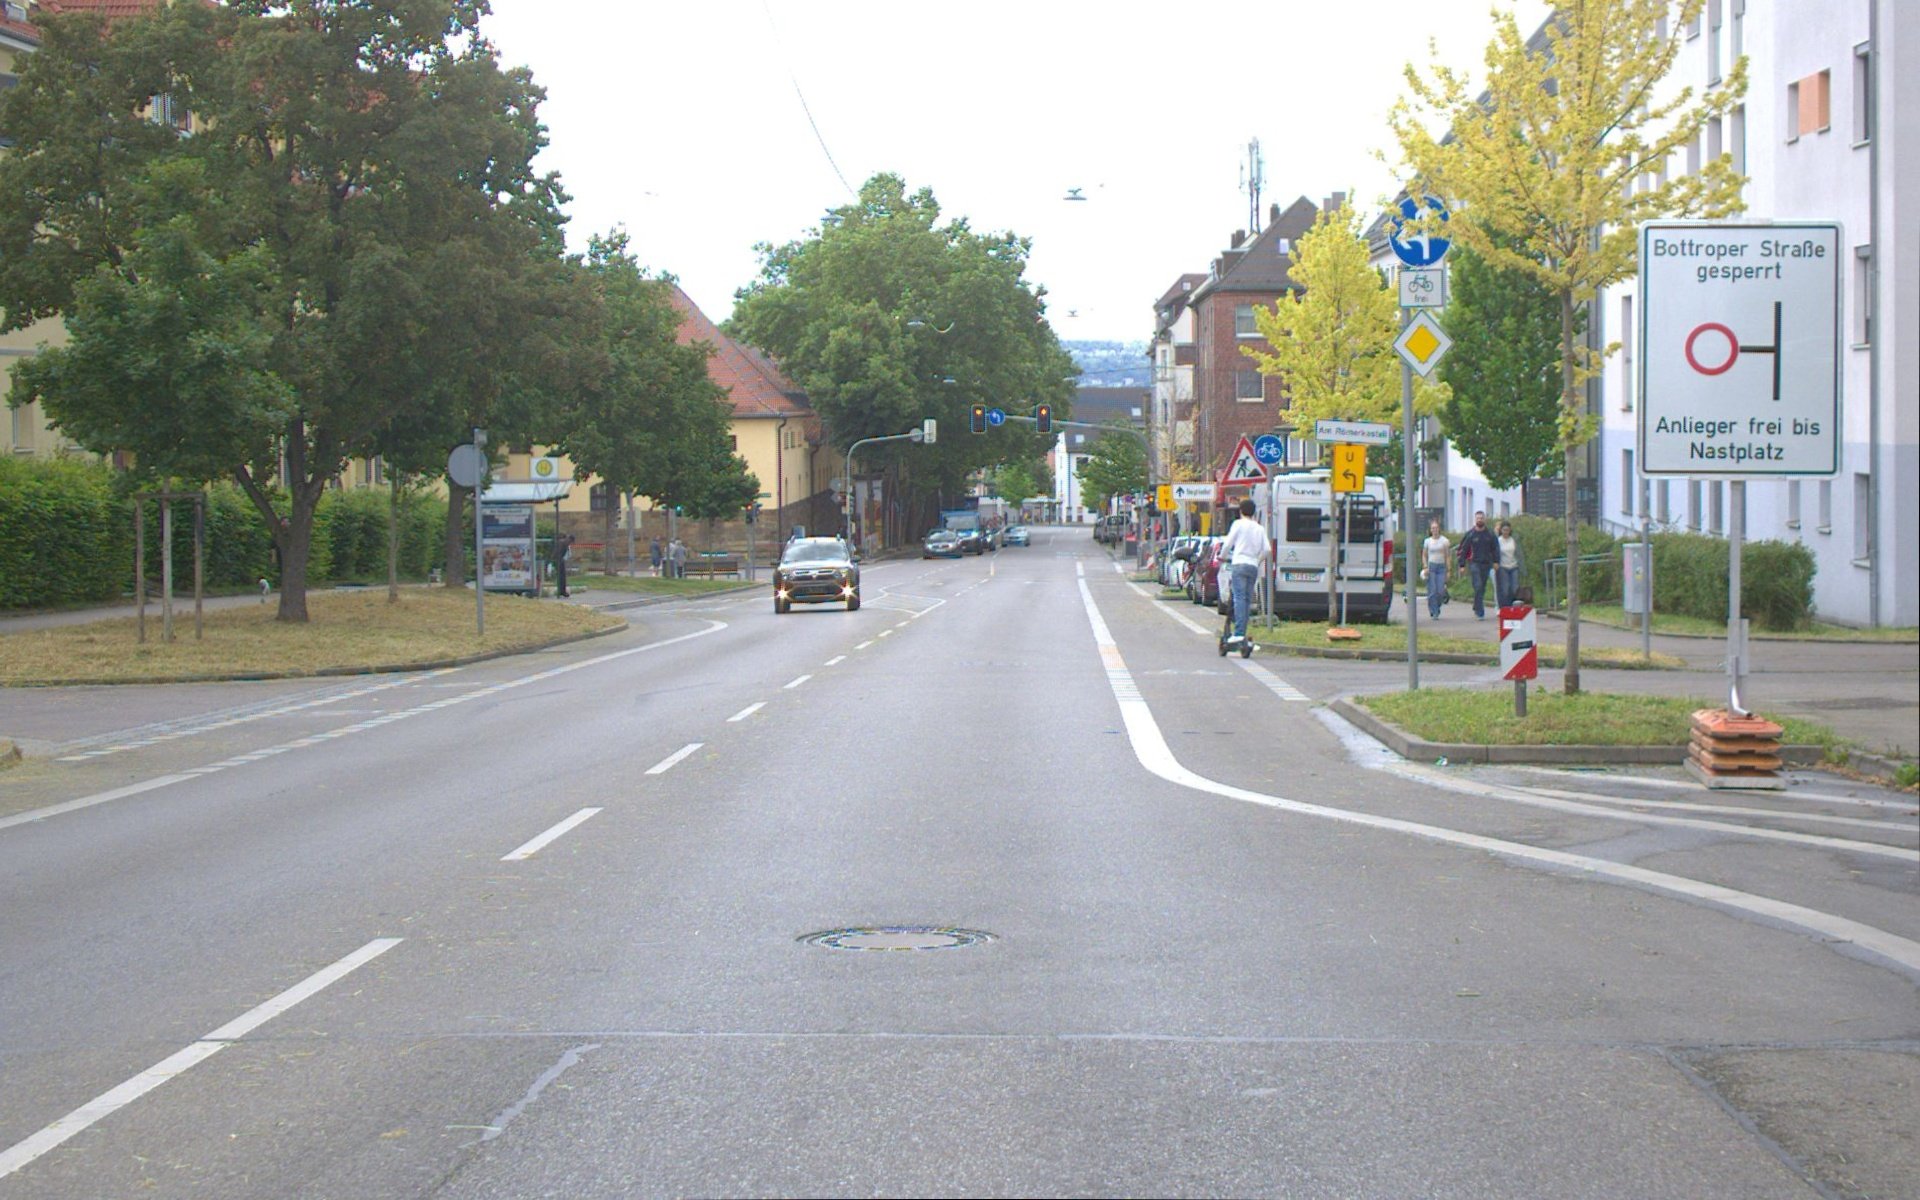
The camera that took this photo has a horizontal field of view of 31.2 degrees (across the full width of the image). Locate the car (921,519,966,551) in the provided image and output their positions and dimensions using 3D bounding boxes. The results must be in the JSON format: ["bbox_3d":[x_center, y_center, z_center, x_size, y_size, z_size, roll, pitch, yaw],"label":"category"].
[{"bbox_3d":[-0.794,-3.117,165.313,1.756,1.467,4.306,-1,1,5],"label":"car"}]

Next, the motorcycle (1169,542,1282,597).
[{"bbox_3d":[6.266,-0.719,81.309,2.597,1.274,0.753,0,1,-2],"label":"motorcycle"}]

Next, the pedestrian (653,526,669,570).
[{"bbox_3d":[-12.093,-2.090,139.002,0.564,1.771,0.717,0,1,1],"label":"pedestrian"}]

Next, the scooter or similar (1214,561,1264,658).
[{"bbox_3d":[3.502,0.105,43.176,0.490,1.159,2.075,0,1,1],"label":"scooter or similar"}]

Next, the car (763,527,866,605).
[{"bbox_3d":[-3.148,-0.766,75.060,1.899,1.614,4.361,0,1,2],"label":"car"}]

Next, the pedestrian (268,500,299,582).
[{"bbox_3d":[-14.686,-1.290,74.603,0.513,1.773,0.753,0,1,1],"label":"pedestrian"}]

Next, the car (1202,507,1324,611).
[{"bbox_3d":[5.841,-0.827,66.793,1.993,1.937,5.211,0,1,1],"label":"car"}]

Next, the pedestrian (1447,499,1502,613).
[{"bbox_3d":[8.581,-0.732,57.407,0.670,1.880,0.766,-1,0,-10],"label":"pedestrian"}]

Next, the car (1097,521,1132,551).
[{"bbox_3d":[10.047,-4.149,223.447,1.993,1.929,4.919,0,1,-1],"label":"car"}]

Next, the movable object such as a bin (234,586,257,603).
[{"bbox_3d":[-15.510,-0.116,74.616,0.306,0.346,0.581,0,1,7],"label":"movable object such as a bin"}]

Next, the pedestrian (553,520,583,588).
[{"bbox_3d":[-10.024,-1.183,87.986,0.597,1.721,0.861,1,1,4],"label":"pedestrian"}]

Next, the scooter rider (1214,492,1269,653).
[{"bbox_3d":[3.550,-0.356,43.365,0.625,2.007,0.758,0,1,1],"label":"scooter rider"}]

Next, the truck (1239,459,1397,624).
[{"bbox_3d":[5.804,-0.986,56.384,2.052,2.556,5.690,0,1,1],"label":"truck"}]

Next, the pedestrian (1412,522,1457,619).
[{"bbox_3d":[8.051,-0.504,58.360,0.576,1.638,0.562,-1,0,-12],"label":"pedestrian"}]

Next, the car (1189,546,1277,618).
[{"bbox_3d":[6.179,-0.430,78.167,1.680,1.539,4.339,0,1,0],"label":"car"}]

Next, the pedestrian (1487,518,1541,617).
[{"bbox_3d":[9.285,-0.545,57.641,0.656,1.599,0.575,-4,2,-7],"label":"pedestrian"}]

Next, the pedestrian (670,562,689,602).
[{"bbox_3d":[-10.901,-0.701,133.465,0.564,1.561,0.842,0,1,7],"label":"pedestrian"}]
